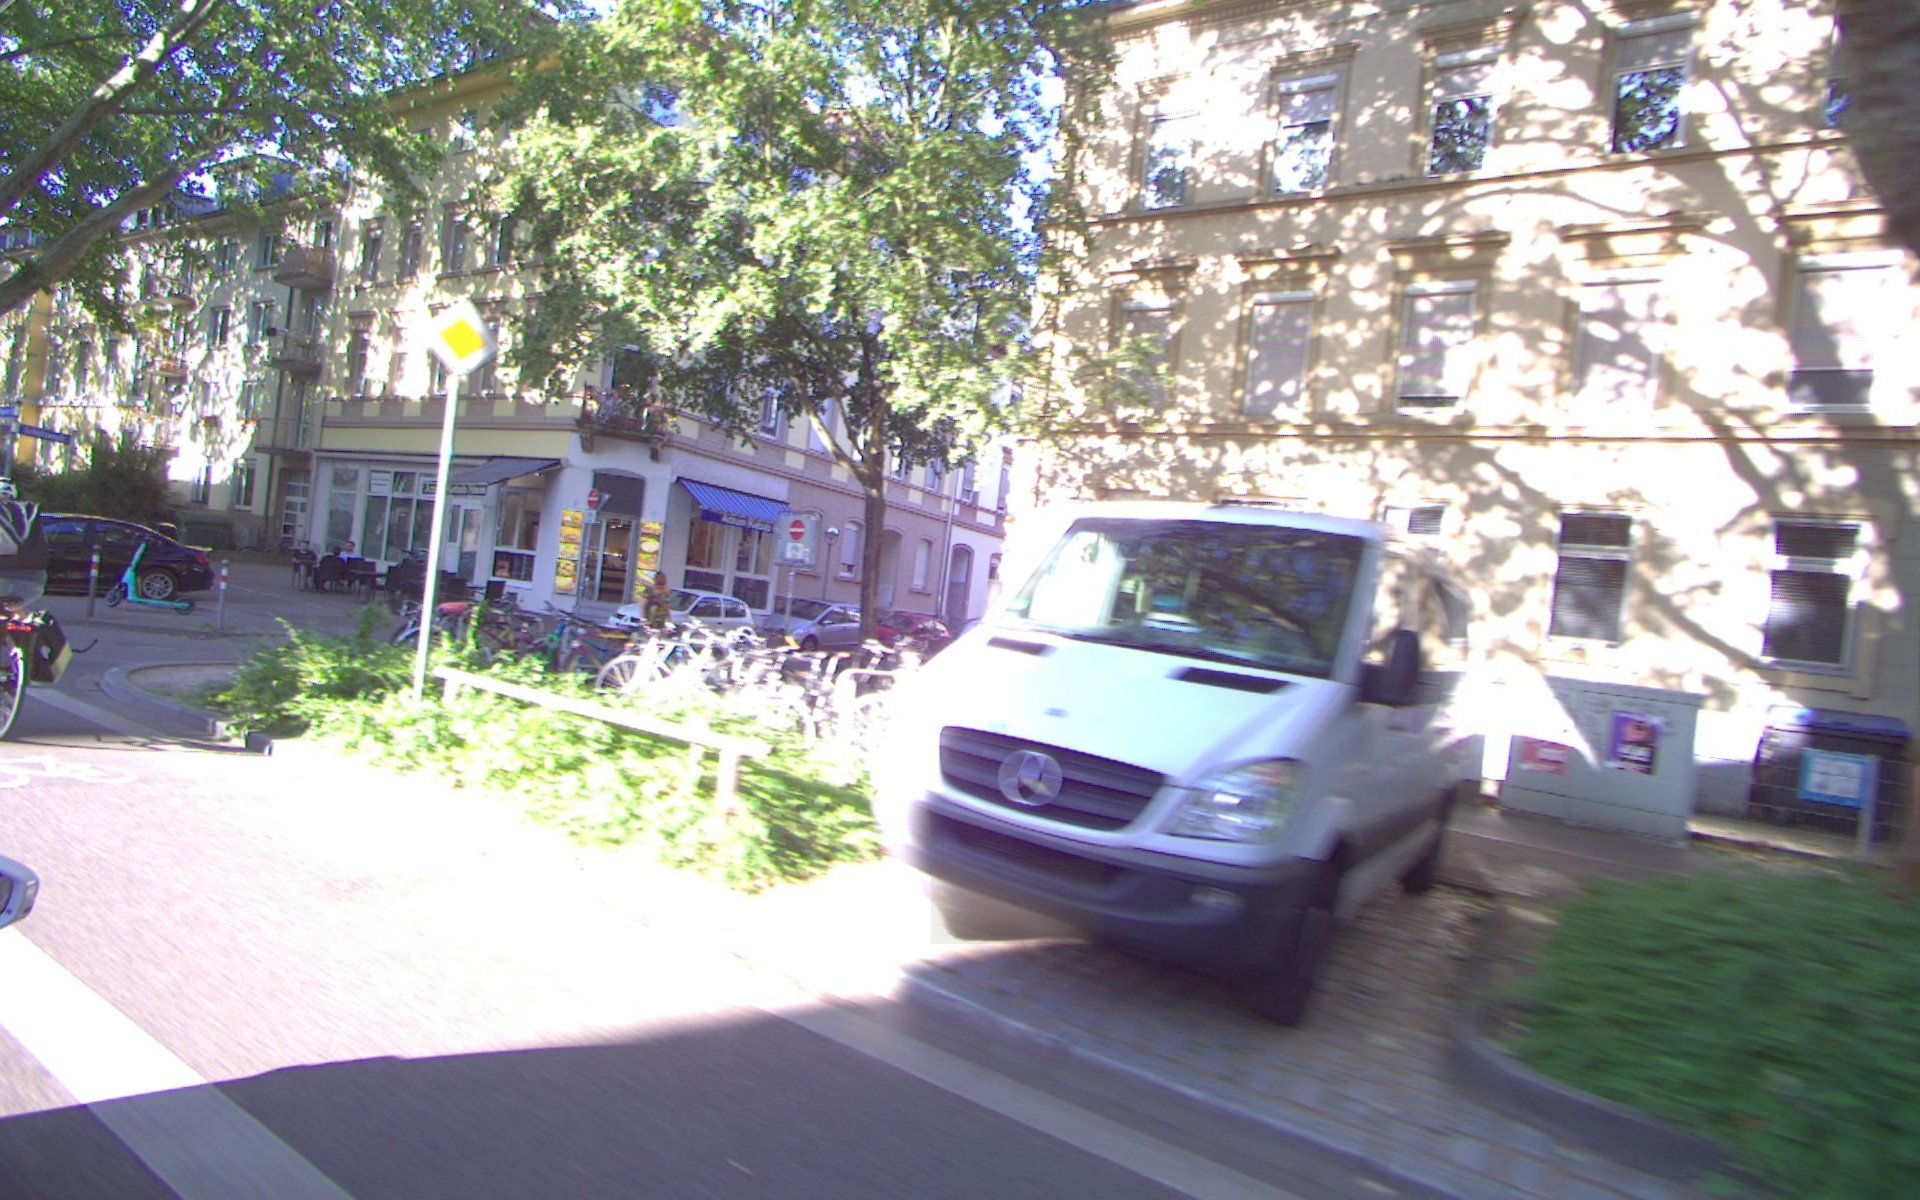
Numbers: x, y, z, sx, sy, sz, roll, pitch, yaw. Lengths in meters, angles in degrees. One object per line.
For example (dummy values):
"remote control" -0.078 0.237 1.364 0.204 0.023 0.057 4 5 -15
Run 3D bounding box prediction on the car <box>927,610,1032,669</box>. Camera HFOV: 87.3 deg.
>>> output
"car" 0.760 1.443 35.912 1.627 1.678 4.136 9 0 33

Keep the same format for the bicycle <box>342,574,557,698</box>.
"bicycle" -5.610 0.440 11.195 0.407 1.192 2.040 6 -2 40

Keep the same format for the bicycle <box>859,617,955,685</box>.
"bicycle" -1.123 1.078 21.418 1.871 1.271 0.508 5 -1 11

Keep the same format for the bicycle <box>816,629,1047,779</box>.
"bicycle" -0.244 0.984 9.388 2.020 1.193 0.411 7 -1 -21

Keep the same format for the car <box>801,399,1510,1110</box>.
"car" 1.901 0.635 6.290 1.974 2.310 5.996 8 0 34

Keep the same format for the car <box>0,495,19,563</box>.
"car" -25.728 -1.982 24.267 1.653 1.664 4.033 7 0 30

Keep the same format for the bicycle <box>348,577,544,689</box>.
"bicycle" -6.222 0.441 12.302 0.407 1.192 2.040 6 -2 40

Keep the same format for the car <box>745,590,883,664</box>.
"car" -3.980 0.792 28.031 1.663 1.636 3.682 9 0 31

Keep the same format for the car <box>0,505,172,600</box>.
"car" -17.997 -1.000 19.360 1.656 1.509 4.097 7 -1 36

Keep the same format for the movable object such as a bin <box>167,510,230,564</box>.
"movable object such as a bin" -23.504 -1.944 31.053 1.099 1.456 1.168 7 1 32

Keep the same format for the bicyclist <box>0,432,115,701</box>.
"bicyclist" -6.079 -0.230 6.386 0.920 1.568 0.616 7 -4 32

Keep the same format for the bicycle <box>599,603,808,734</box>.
"bicycle" -2.646 0.749 10.569 2.032 1.192 0.409 8 -1 -37

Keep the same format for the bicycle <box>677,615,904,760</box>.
"bicycle" -1.620 0.860 9.733 2.020 1.193 0.411 7 -1 -21

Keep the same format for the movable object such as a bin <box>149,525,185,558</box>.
"movable object such as a bin" -25.158 -1.859 31.915 0.458 0.955 0.748 7 2 32

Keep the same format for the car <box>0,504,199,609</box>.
"car" -16.129 -0.835 17.538 1.800 1.509 4.104 7 -1 30

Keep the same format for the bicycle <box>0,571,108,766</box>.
"bicycle" -6.402 0.334 6.473 2.470 1.015 0.596 7 -3 33

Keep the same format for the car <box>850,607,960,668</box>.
"car" -1.683 1.216 32.005 1.627 1.508 3.412 9 0 33

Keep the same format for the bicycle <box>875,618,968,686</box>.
"bicycle" -0.850 1.141 22.126 1.871 1.301 0.508 5 -1 13

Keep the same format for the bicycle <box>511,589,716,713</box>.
"bicycle" -3.820 0.599 11.223 2.032 1.192 0.409 8 -1 -37

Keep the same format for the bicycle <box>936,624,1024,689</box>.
"bicycle" 0.463 1.332 23.760 1.975 1.332 0.523 4 -3 32

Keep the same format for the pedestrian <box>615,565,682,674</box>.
"pedestrian" -5.099 0.320 16.468 0.695 1.671 0.594 6 0 6

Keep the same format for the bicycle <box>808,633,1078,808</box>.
"bicycle" -0.111 0.975 8.012 2.020 1.193 0.411 7 -1 -21

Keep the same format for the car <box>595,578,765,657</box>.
"car" -6.537 0.472 23.869 1.662 1.429 3.684 9 0 28

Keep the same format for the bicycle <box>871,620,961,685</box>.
"bicycle" -1.041 1.225 23.602 2.010 1.301 0.507 6 0 27

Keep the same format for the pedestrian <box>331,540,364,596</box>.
"pedestrian" -15.566 -0.809 25.573 0.479 1.344 0.683 7 0 -21

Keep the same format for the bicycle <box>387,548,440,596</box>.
"bicycle" -15.417 -0.795 28.357 1.717 1.171 0.470 8 2 33

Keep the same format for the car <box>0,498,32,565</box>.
"car" -23.841 -1.798 22.595 1.653 1.498 4.033 7 0 31

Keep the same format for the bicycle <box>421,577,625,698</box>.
"bicycle" -4.864 0.460 11.345 0.407 1.192 2.040 6 -2 40

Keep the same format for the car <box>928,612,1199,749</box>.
"car" 1.538 1.173 15.058 3.509 1.472 1.737 7 -2 29

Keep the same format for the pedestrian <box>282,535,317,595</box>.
"pedestrian" -16.212 -0.864 24.697 0.480 1.392 1.049 7 0 -27

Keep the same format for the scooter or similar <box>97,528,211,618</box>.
"scooter or similar" -12.902 -0.418 16.130 1.303 1.271 0.337 7 0 -45
